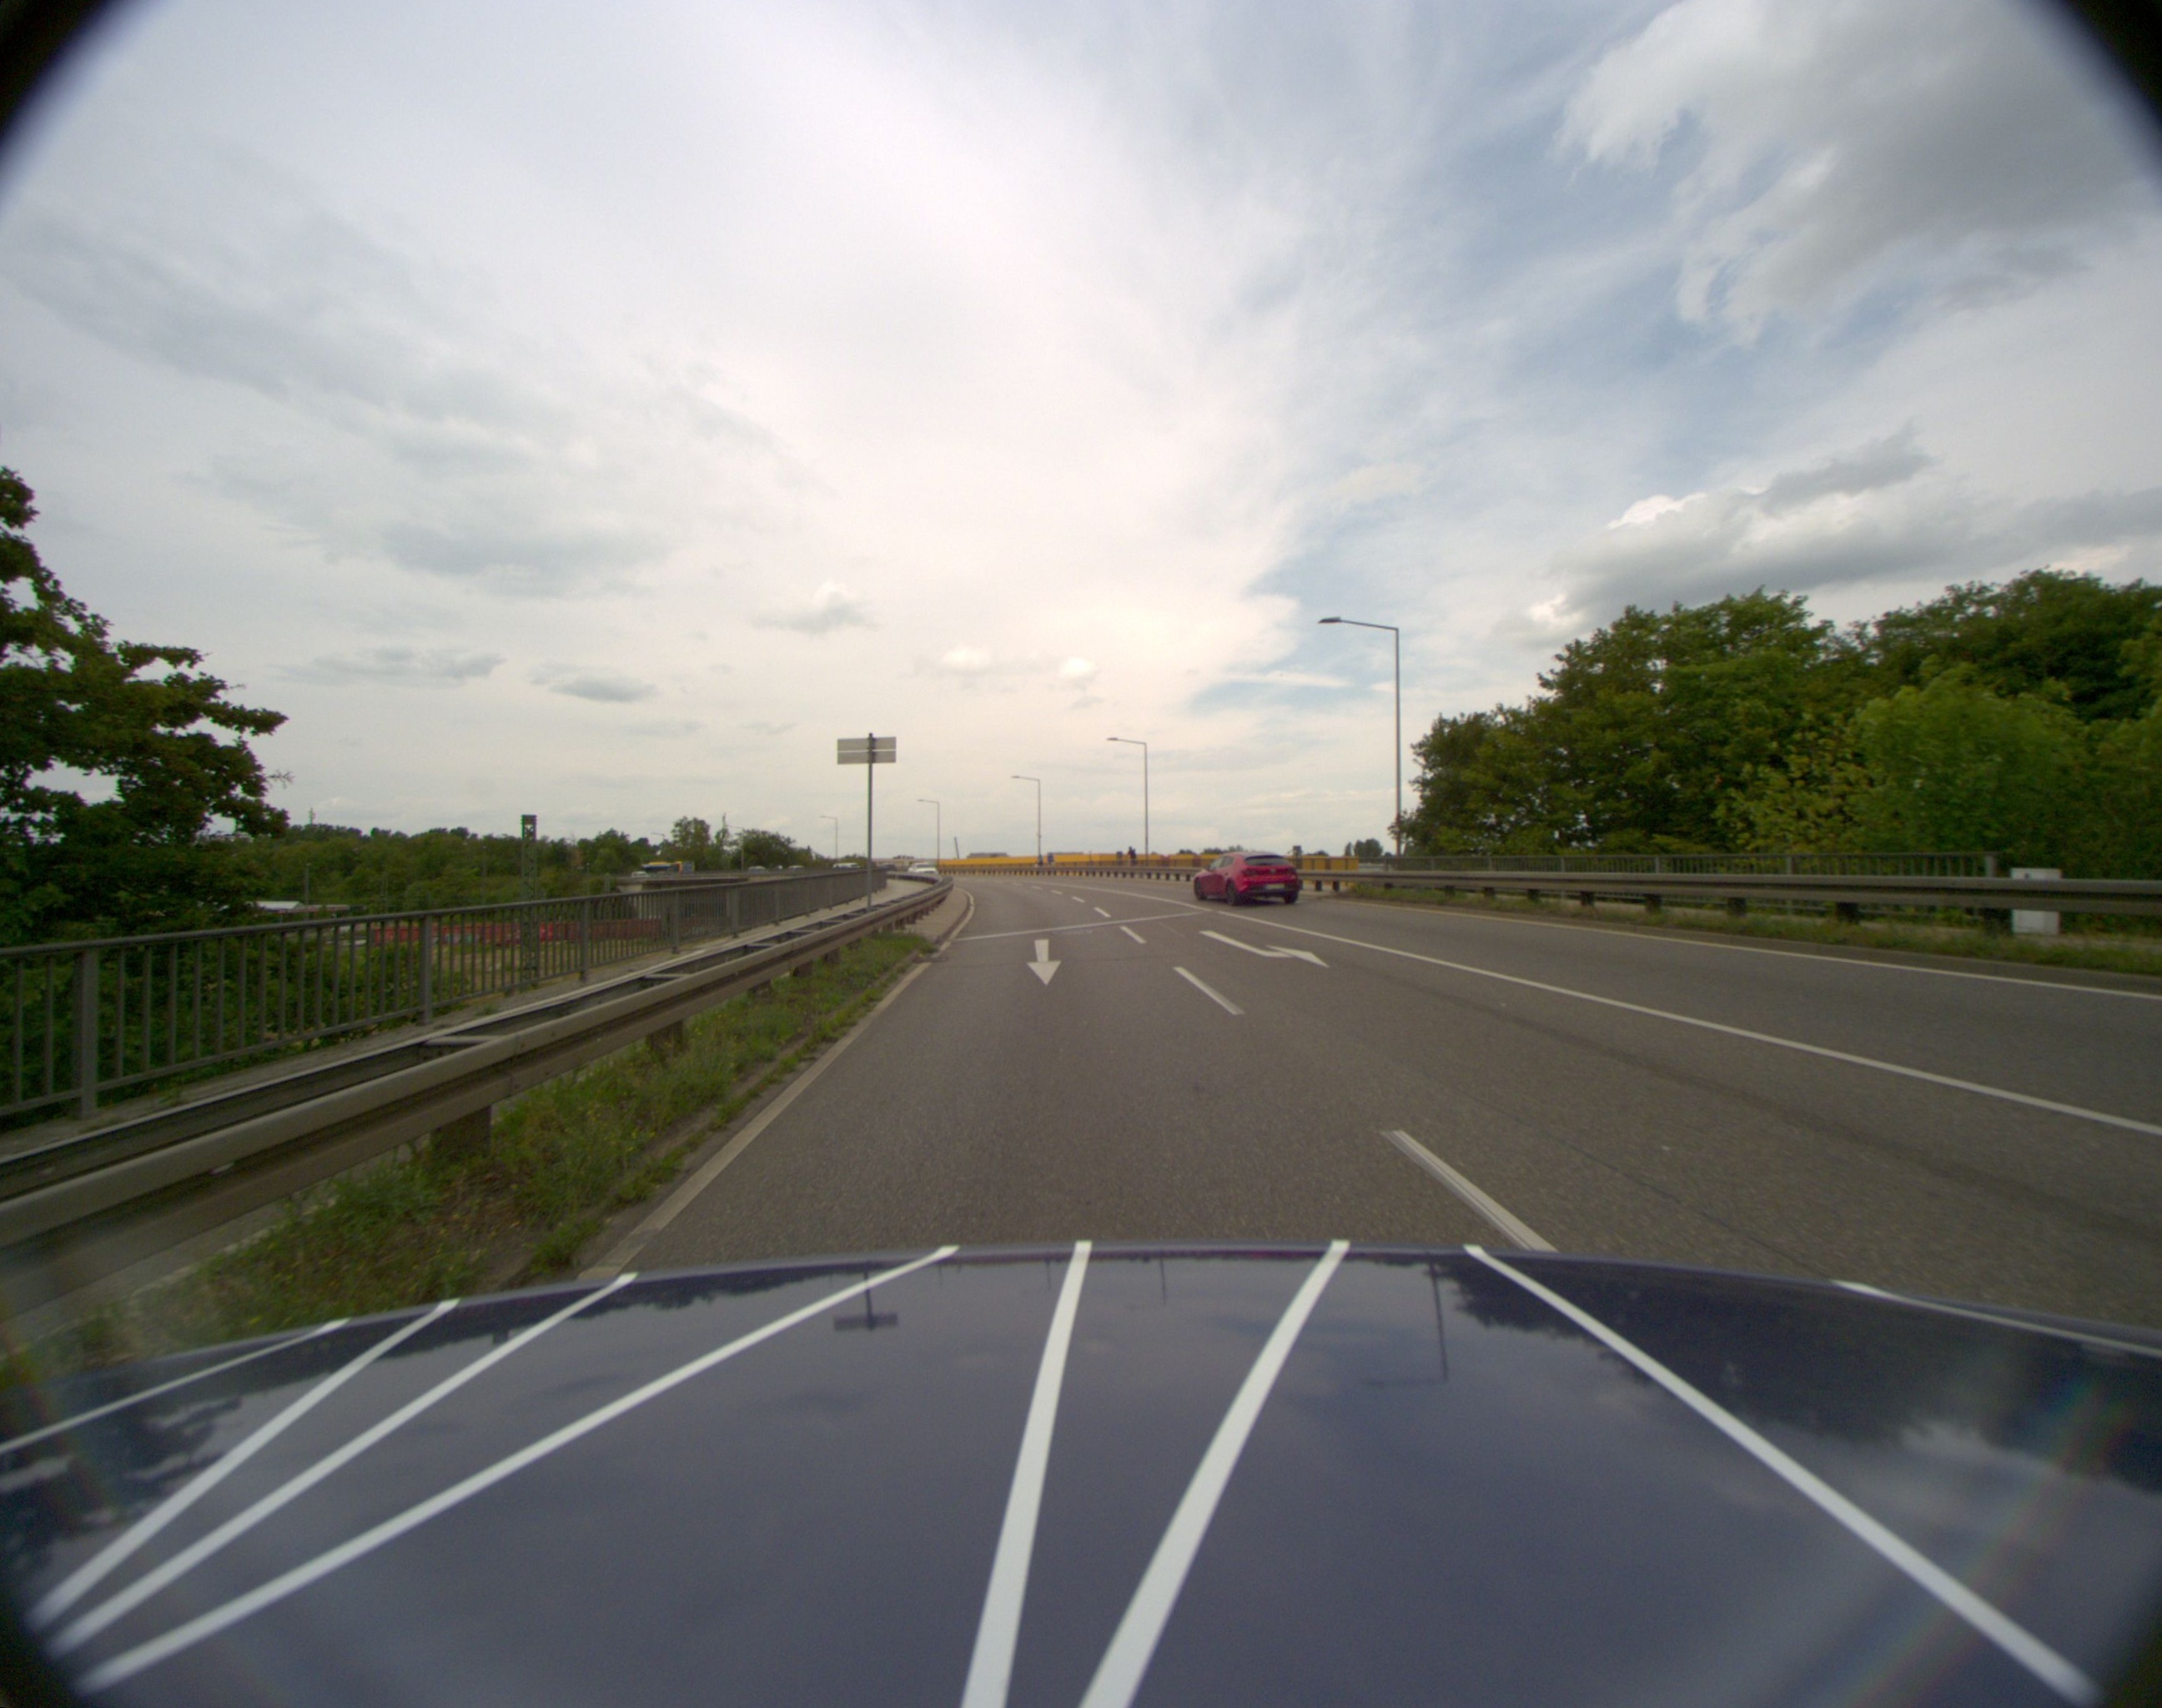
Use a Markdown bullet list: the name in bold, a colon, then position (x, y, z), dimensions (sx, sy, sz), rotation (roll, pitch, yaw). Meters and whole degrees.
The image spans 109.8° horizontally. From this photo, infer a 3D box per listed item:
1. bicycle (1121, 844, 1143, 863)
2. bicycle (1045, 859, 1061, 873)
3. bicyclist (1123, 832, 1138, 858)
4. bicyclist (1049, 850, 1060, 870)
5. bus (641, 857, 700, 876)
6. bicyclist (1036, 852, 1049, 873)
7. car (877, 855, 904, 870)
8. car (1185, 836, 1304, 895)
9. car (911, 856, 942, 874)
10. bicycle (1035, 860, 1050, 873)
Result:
- **bicycle**: position (3.185, -0.051, 47.700), dimensions (0.637, 1.167, 1.903), rotation (-2, 1, -18)
- **bicycle**: position (-2.233, 0.962, 60.060), dimensions (0.495, 1.039, 1.806), rotation (-2, 1, -28)
- **bicyclist**: position (3.106, -0.573, 47.873), dimensions (0.774, 1.622, 0.648), rotation (-2, 2, -16)
- **bicyclist**: position (-2.087, 0.439, 59.845), dimensions (0.613, 1.531, 0.755), rotation (-2, 1, -28)
- **bus**: position (-72.208, 2.213, 133.484), dimensions (12.915, 3.215, 3.047), rotation (-1, 1, 32)
- **bicyclist**: position (-3.318, 0.707, 65.463), dimensions (0.852, 1.798, 0.795), rotation (-2, 1, -26)
- **car**: position (-22.205, 0.941, 88.397), dimensions (1.949, 1.584, 4.763), rotation (-2, 1, -28)
- **car**: position (4.501, 0.260, 21.668), dimensions (1.801, 1.463, 4.632), rotation (-2, 1, -8)
- **car**: position (-13.452, 0.951, 66.066), dimensions (1.941, 1.448, 3.878), rotation (2, 0, -23)
- **bicycle**: position (-3.323, 1.072, 65.507), dimensions (0.648, 1.061, 1.757), rotation (-1, 1, -26)
